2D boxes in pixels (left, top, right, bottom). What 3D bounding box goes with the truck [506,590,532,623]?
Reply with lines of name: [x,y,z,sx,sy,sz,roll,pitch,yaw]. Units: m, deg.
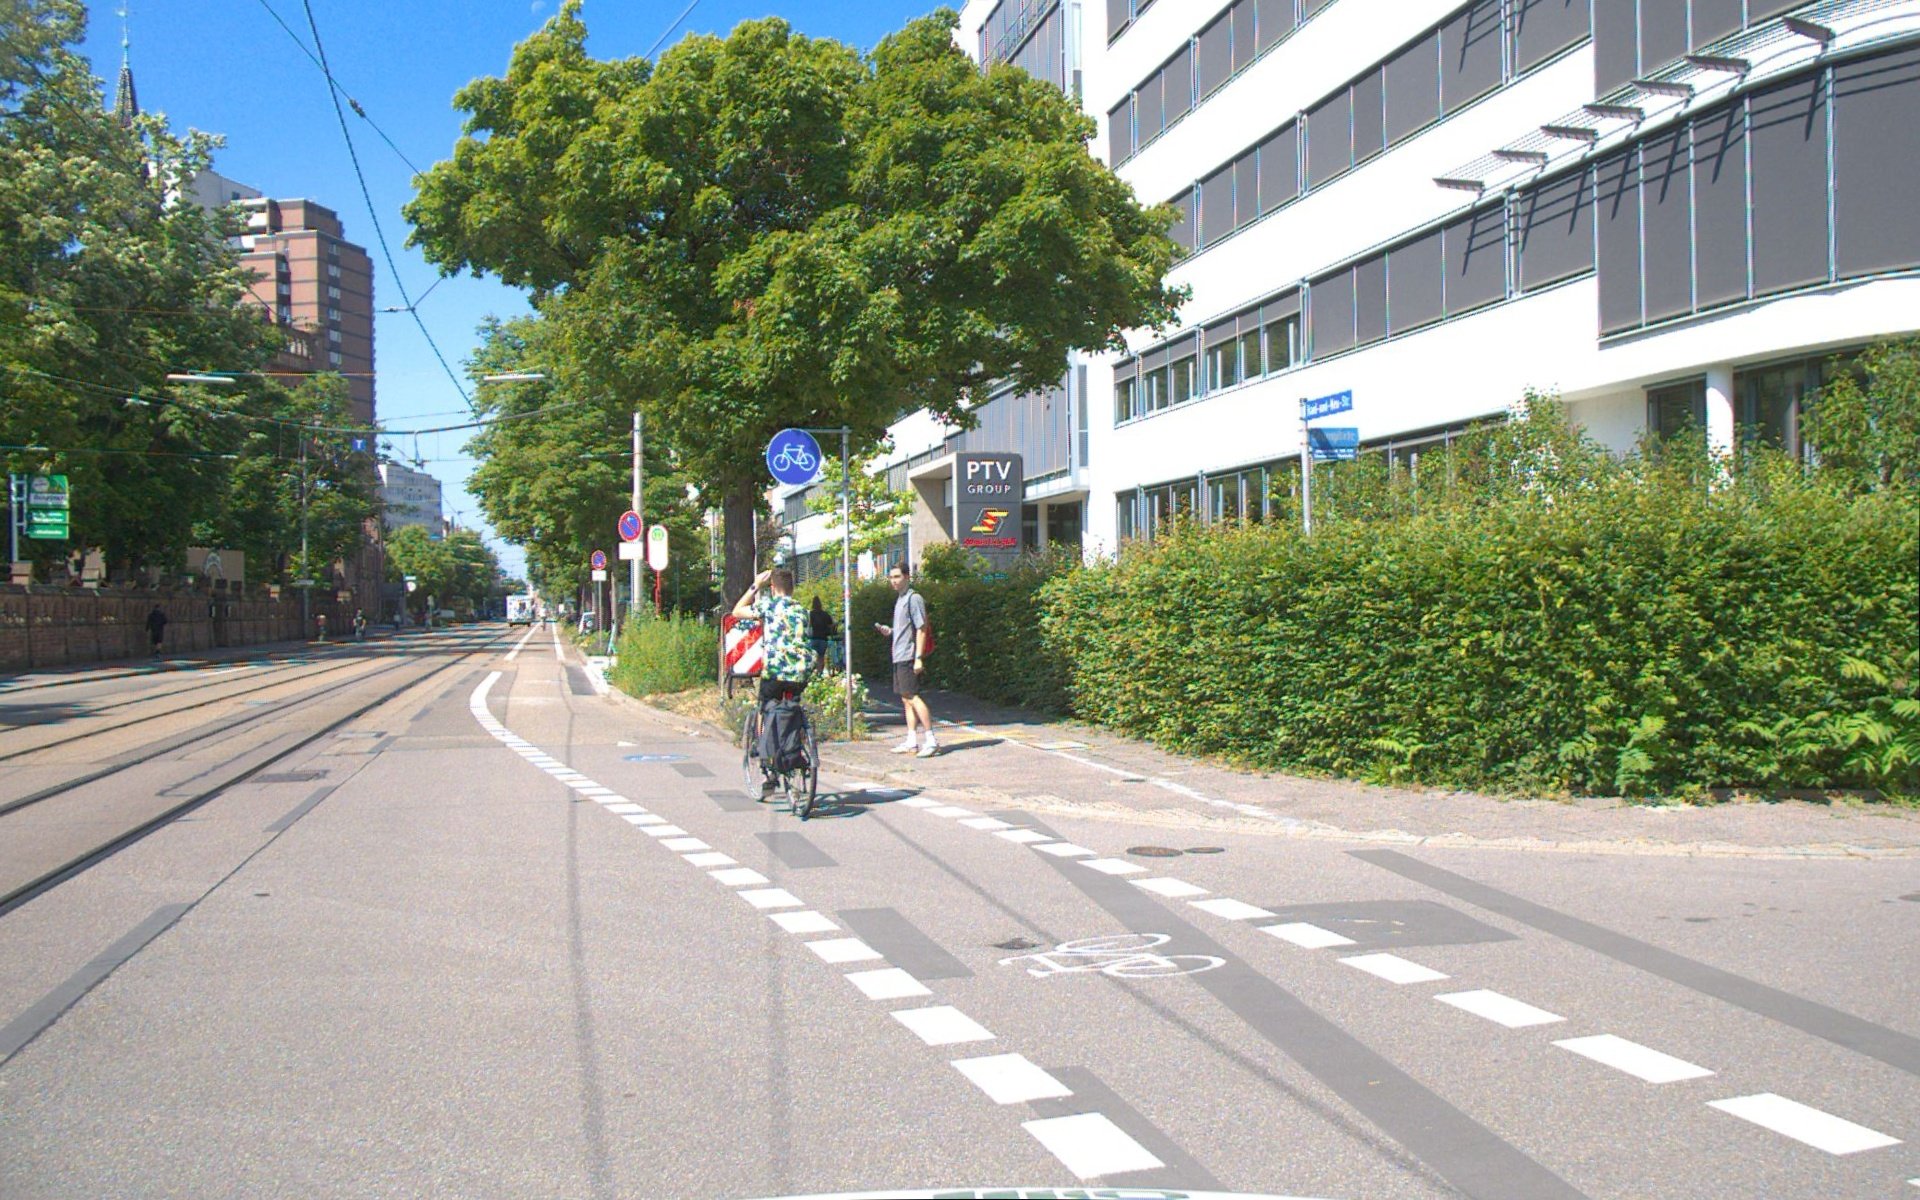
truck: [-43.082,0.626,161.617,2.362,3.163,6.013,-1,0,-15]

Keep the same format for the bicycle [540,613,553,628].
bicycle: [-31.144,1.534,124.553,0.841,1.129,2.131,-1,0,-15]

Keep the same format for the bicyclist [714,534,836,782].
bicyclist: [-1.388,0.408,12.279,0.705,1.754,0.983,-1,0,-17]

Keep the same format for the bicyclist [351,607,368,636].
bicyclist: [-31.806,1.132,87.680,0.728,1.557,0.944,-1,0,-14]

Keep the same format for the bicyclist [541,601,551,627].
bicyclist: [-31.178,1.055,124.588,0.625,1.904,1.020,-1,0,-15]

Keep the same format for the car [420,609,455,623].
car: [-69.377,2.134,219.496,1.967,1.780,3.972,-2,-1,45]

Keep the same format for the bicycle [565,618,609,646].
bicycle: [-16.174,1.374,71.680,1.818,1.151,0.677,-1,0,-16]

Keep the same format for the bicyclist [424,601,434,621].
bicyclist: [-45.319,0.947,141.140,0.713,1.728,1.142,-2,0,-15]

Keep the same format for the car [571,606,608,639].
car: [-17.241,1.020,76.835,1.602,1.498,3.617,-1,0,-14]

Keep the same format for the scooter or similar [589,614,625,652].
scooter or similar: [-11.471,1.057,53.758,1.106,1.187,0.674,-1,0,-13]

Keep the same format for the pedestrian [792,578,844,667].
pedestrian: [-2.633,0.421,30.658,0.676,1.590,0.983,-3,0,-19]

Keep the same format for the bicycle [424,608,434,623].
bicycle: [-45.293,1.317,141.083,0.651,1.174,2.006,-1,0,-14]

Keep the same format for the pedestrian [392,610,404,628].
pedestrian: [-49.097,1.688,144.456,0.871,1.538,1.465,-1,-1,-23]

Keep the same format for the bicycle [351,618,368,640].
bicycle: [-31.832,1.517,87.702,0.582,1.125,2.046,-1,0,-14]

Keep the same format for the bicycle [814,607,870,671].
bicycle: [-2.202,0.707,30.619,0.625,1.137,2.058,-1,0,-15]

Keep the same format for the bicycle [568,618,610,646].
bicycle: [-15.772,1.362,70.329,1.696,1.105,0.637,-1,0,-16]

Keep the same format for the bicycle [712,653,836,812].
bicycle: [-1.415,0.928,12.262,0.598,1.001,2.155,-1,0,-15]

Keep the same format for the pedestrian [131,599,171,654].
pedestrian: [-27.793,0.900,56.828,0.960,1.847,1.180,-2,0,-14]

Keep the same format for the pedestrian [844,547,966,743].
pedestrian: [-0.552,0.420,16.251,0.877,1.849,1.066,-1,0,-21]

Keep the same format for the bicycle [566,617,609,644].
bicycle: [-16.027,1.297,71.175,1.763,1.105,0.723,-1,0,-16]
